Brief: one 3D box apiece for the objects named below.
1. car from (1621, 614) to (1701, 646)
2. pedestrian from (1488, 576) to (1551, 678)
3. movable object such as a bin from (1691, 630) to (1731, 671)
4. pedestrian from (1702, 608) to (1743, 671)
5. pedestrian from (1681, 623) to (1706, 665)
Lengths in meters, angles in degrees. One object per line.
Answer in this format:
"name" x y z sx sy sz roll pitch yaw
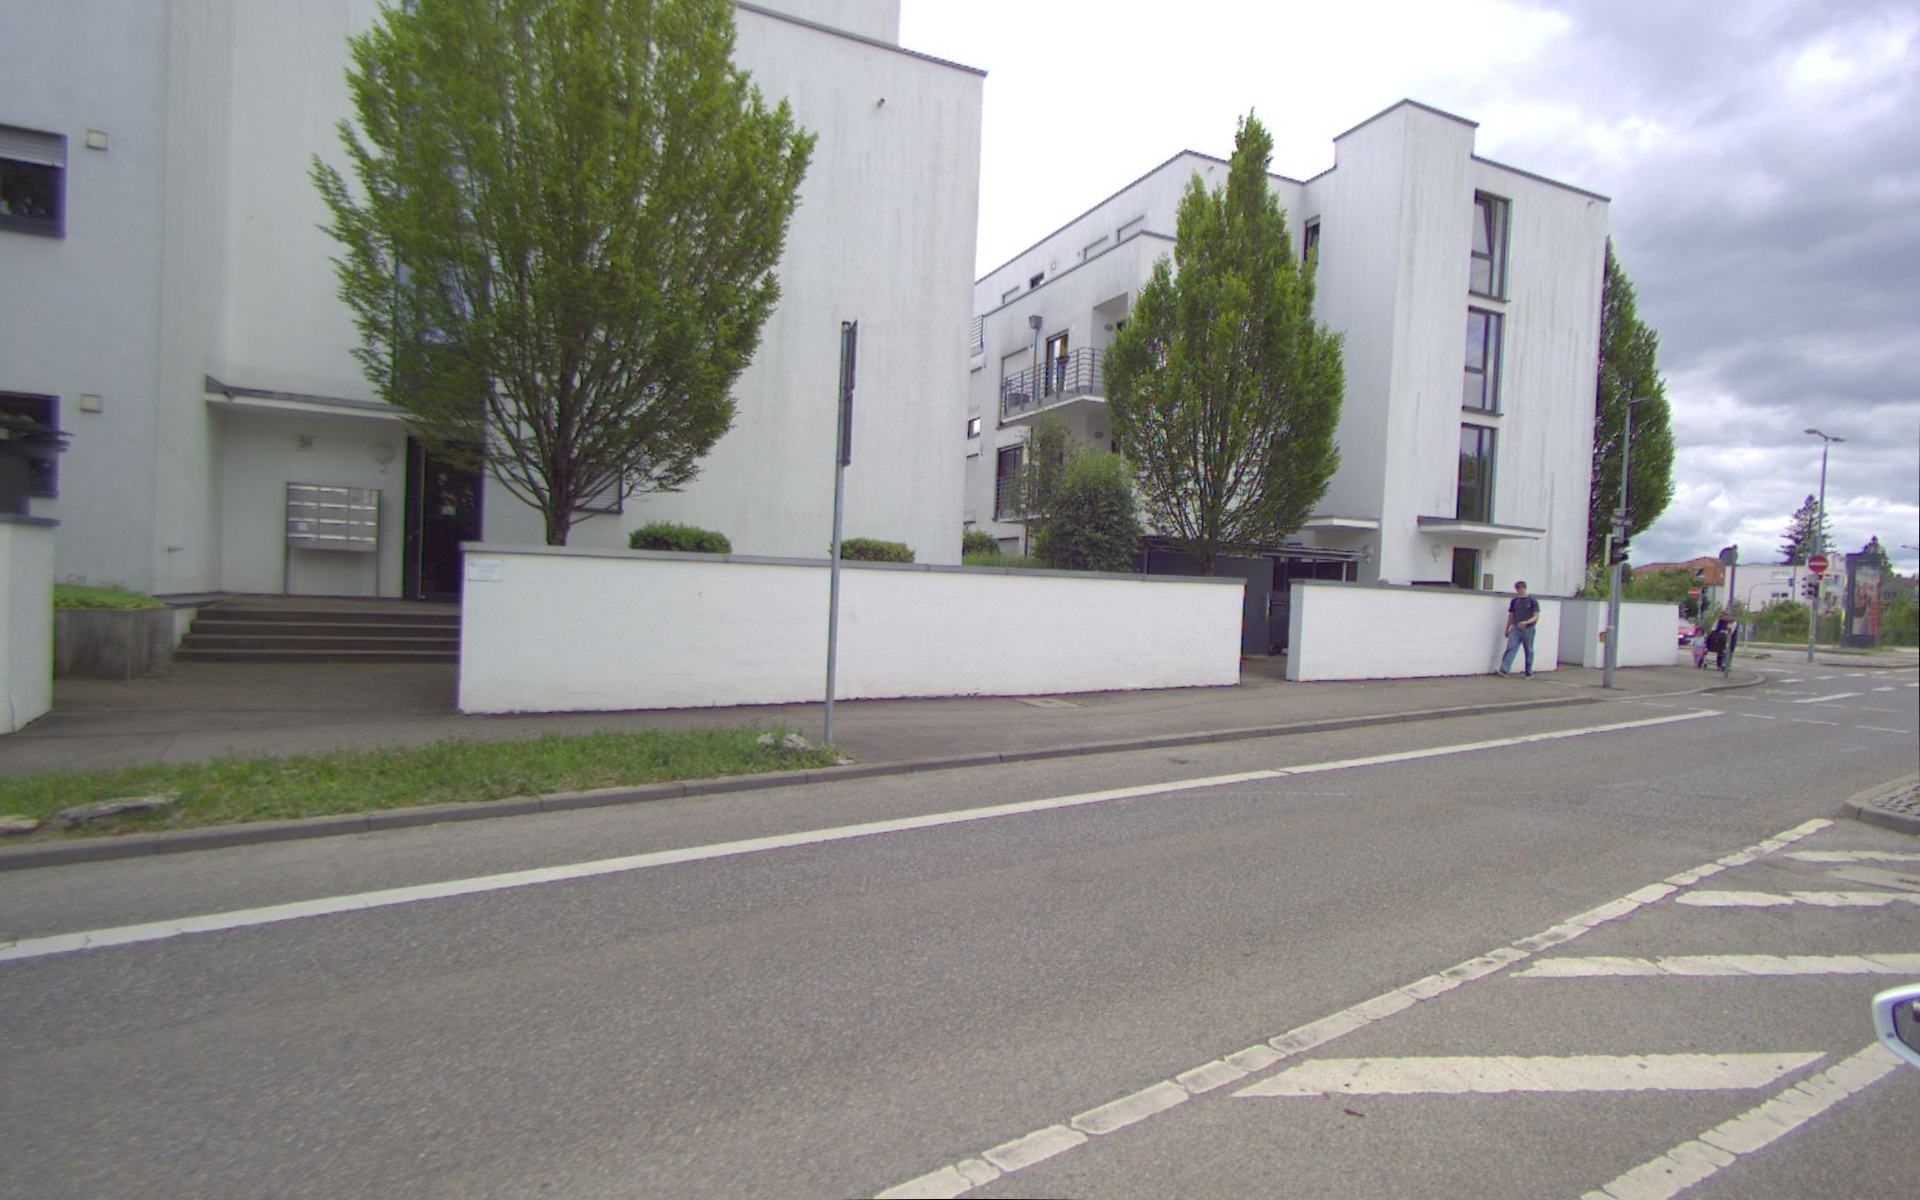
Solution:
"car" 34.642 1.456 49.758 1.739 1.466 3.706 1 -1 8
"pedestrian" 11.181 0.538 20.090 0.863 1.974 0.644 2 3 -35
"movable object such as a bin" 19.202 1.278 25.681 0.977 0.973 0.493 1 5 -38
"pedestrian" 19.861 1.011 26.166 0.725 1.563 0.527 1 6 -38
"pedestrian" 19.560 1.159 26.789 0.440 1.076 0.323 1 5 -37
